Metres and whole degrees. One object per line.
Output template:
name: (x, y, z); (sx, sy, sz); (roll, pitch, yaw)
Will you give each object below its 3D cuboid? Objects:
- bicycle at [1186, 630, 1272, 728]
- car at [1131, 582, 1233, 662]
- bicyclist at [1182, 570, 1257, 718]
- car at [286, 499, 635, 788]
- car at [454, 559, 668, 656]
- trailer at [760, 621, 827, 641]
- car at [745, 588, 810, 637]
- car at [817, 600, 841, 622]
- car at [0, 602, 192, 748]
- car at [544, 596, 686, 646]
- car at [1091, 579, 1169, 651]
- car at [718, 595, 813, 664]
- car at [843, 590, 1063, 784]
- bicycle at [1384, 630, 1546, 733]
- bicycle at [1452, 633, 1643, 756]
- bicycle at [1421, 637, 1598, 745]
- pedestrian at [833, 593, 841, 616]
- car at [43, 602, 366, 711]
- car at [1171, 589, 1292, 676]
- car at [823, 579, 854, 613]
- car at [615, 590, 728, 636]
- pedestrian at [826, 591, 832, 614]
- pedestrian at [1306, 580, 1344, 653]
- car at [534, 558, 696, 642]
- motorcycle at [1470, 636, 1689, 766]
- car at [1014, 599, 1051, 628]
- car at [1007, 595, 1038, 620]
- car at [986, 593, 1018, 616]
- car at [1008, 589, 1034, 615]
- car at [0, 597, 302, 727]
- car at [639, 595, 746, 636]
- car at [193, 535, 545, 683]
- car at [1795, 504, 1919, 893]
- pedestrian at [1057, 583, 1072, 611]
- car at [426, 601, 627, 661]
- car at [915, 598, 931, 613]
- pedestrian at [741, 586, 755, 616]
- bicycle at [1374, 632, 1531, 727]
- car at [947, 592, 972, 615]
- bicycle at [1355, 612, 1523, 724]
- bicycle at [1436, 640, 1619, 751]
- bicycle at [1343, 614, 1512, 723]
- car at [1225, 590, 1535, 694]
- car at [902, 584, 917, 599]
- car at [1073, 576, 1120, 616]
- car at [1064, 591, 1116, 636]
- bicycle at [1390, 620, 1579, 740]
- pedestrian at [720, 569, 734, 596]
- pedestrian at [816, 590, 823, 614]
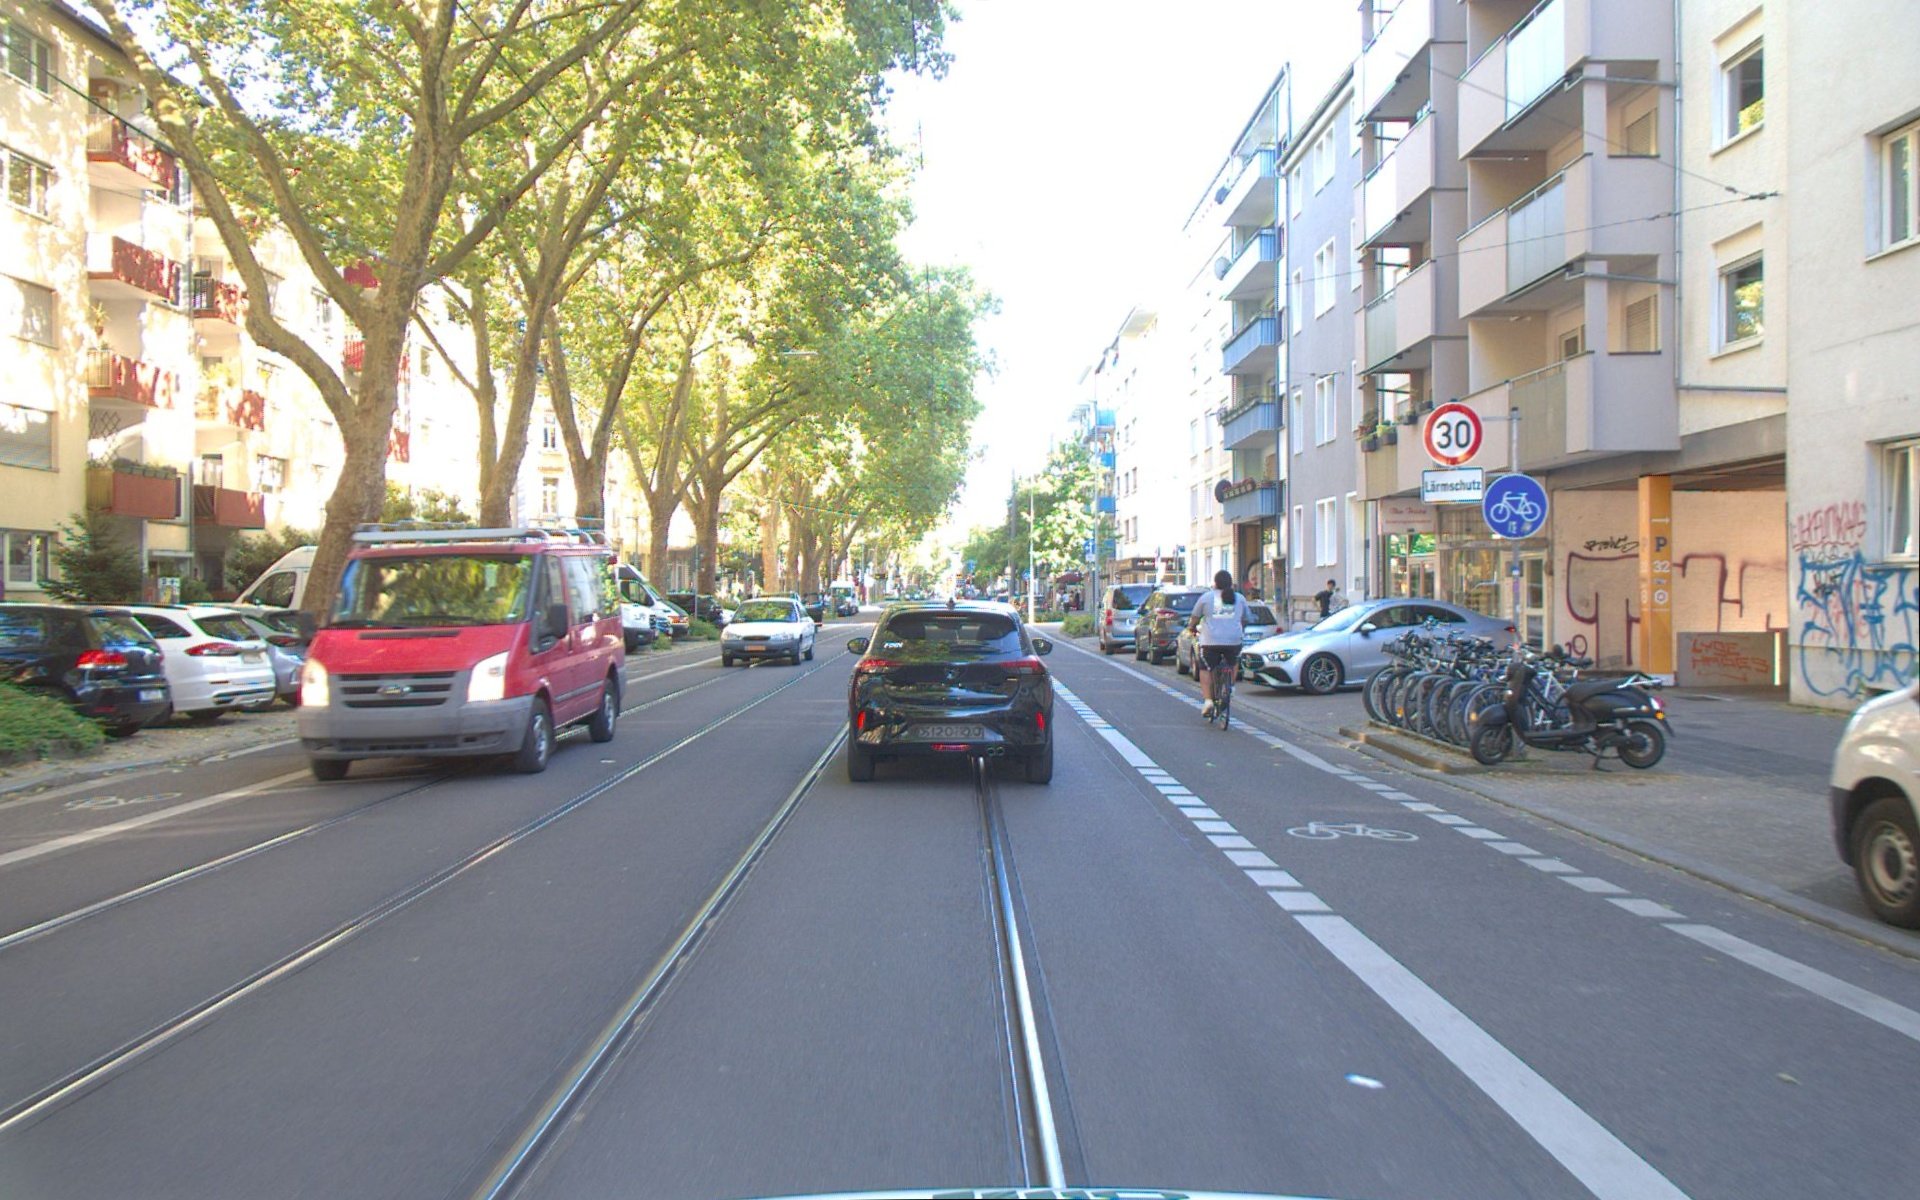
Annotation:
bicycle: (3.293, 0.949, 20.411); (0.687, 1.111, 1.990); (1, 0, -1)
car: (5.107, 0.476, 38.525); (1.731, 1.734, 4.282); (0, 0, -1)
bicyclist: (3.201, 0.530, 20.450); (0.770, 1.790, 0.914); (0, 0, -1)
car: (-4.427, 0.334, 15.537); (1.878, 2.266, 4.959); (0, 0, -1)
car: (-10.721, 0.194, 44.694); (5.250, 2.521, 2.057); (0, 0, 0)
trailer: (-6.758, 1.258, 67.839); (2.116, 0.643, 6.399); (0, 0, 0)
car: (-6.838, 0.450, 62.395); (1.953, 1.729, 4.484); (-2, 0, 0)
car: (-9.668, 0.779, 122.188); (1.719, 1.534, 3.997); (0, 0, -4)
car: (-10.637, 0.770, 18.027); (3.715, 1.486, 1.704); (0, 0, 0)
car: (-10.550, 0.635, 50.791); (3.937, 1.491, 1.872); (0, 0, 0)
car: (4.783, 0.400, 47.225); (1.820, 1.923, 4.925); (0, 0, 1)
car: (-4.162, 0.600, 35.978); (1.683, 1.382, 4.468); (0, 0, -2)
car: (-0.072, 0.663, 14.418); (1.645, 1.447, 3.627); (1, 0, -1)
bicycle: (5.577, 0.894, 18.302); (1.619, 1.038, 0.457); (-2, 0, -1)
bicycle: (5.575, 0.887, 15.721); (1.619, 1.073, 0.457); (-2, 0, -1)
bicycle: (5.588, 0.920, 16.841); (1.619, 1.004, 0.457); (-2, 0, -1)
pedestrian: (-8.402, 0.299, 112.857); (0.496, 1.610, 0.527); (0, 0, -1)
car: (-10.488, 0.763, 23.135); (3.729, 1.457, 1.705); (0, 0, 1)
car: (5.143, 0.576, 31.886); (1.689, 1.552, 4.513); (0, 0, 1)
car: (-9.411, -0.319, 128.628); (2.050, 2.629, 5.996); (0, 0, -1)
car: (-10.782, 0.488, 61.996); (3.906, 1.676, 1.893); (0, 0, -2)
pedestrian: (-8.955, 0.158, 113.175); (0.339, 1.610, 0.508); (0, 0, -2)
pedestrian: (8.909, 0.402, 40.370); (0.741, 1.750, 0.720); (-1, 0, -2)
car: (-11.103, -0.009, 53.475); (4.845, 2.612, 2.081); (0, 0, -4)
motorcycle: (5.531, 0.893, 14.798); (1.781, 1.099, 0.617); (-1, 0, 23)
car: (4.224, 0.778, 96.397); (1.684, 1.601, 4.081); (0, 0, -4)
car: (3.828, 0.470, 102.218); (1.683, 1.516, 3.680); (0, 0, -2)
car: (3.045, 0.302, 121.152); (1.954, 1.668, 3.996); (0, 0, -4)
car: (3.909, 0.134, 106.463); (1.617, 1.601, 3.084); (0, 0, 1)
car: (-10.560, 0.742, 20.678); (3.905, 1.522, 1.830); (0, 0, 0)
car: (-10.447, 0.582, 64.683); (3.906, 1.548, 1.770); (0, 0, -2)
car: (-10.655, 0.150, 30.146); (5.623, 2.580, 2.162); (0, 0, 0)
car: (5.464, 0.402, 6.684); (1.821, 1.852, 4.350); (-4, -1, -1)
pedestrian: (6.758, -0.187, 107.073); (0.752, 1.779, 0.795); (0, 0, 24)
car: (-10.384, 0.726, 39.858); (4.320, 1.409, 1.933); (0, 0, -1)
car: (-4.237, 0.573, 190.904); (1.714, 1.680, 4.001); (0, 0, 1)
pedestrian: (-13.582, 0.036, 106.089); (0.887, 1.901, 0.643); (0, 0, -6)
bicycle: (5.593, 0.895, 18.811); (1.619, 0.983, 0.457); (-2, 0, -1)
car: (-0.033, 0.249, 127.855); (1.820, 1.680, 4.001); (0, 0, 1)
bicycle: (5.581, 0.785, 19.299); (1.786, 1.212, 0.457); (-2, 0, -1)
bicycle: (5.595, 0.934, 16.345); (1.619, 1.004, 0.457); (-2, 0, -1)
bicycle: (5.586, 0.809, 19.791); (1.853, 1.212, 0.457); (-2, 0, -1)
car: (6.793, 0.646, 26.908); (4.532, 1.462, 1.859); (-2, 0, -12)
car: (-7.468, -1.254, 245.601); (1.954, 2.250, 5.098); (0, 0, -4)
car: (5.904, -0.159, 71.891); (1.820, 1.680, 4.001); (0, 0, 1)
car: (5.098, 0.512, 65.426); (1.820, 1.680, 4.001); (0, 0, 1)
bicycle: (5.572, 0.842, 17.630); (1.757, 1.168, 0.704); (-2, 0, -1)
pedestrian: (-14.686, -1.111, 104.396); (0.830, 1.661, 0.643); (0, 0, -6)
pedestrian: (-9.570, 0.136, 112.653); (0.497, 1.610, 0.526); (0, 0, -4)
